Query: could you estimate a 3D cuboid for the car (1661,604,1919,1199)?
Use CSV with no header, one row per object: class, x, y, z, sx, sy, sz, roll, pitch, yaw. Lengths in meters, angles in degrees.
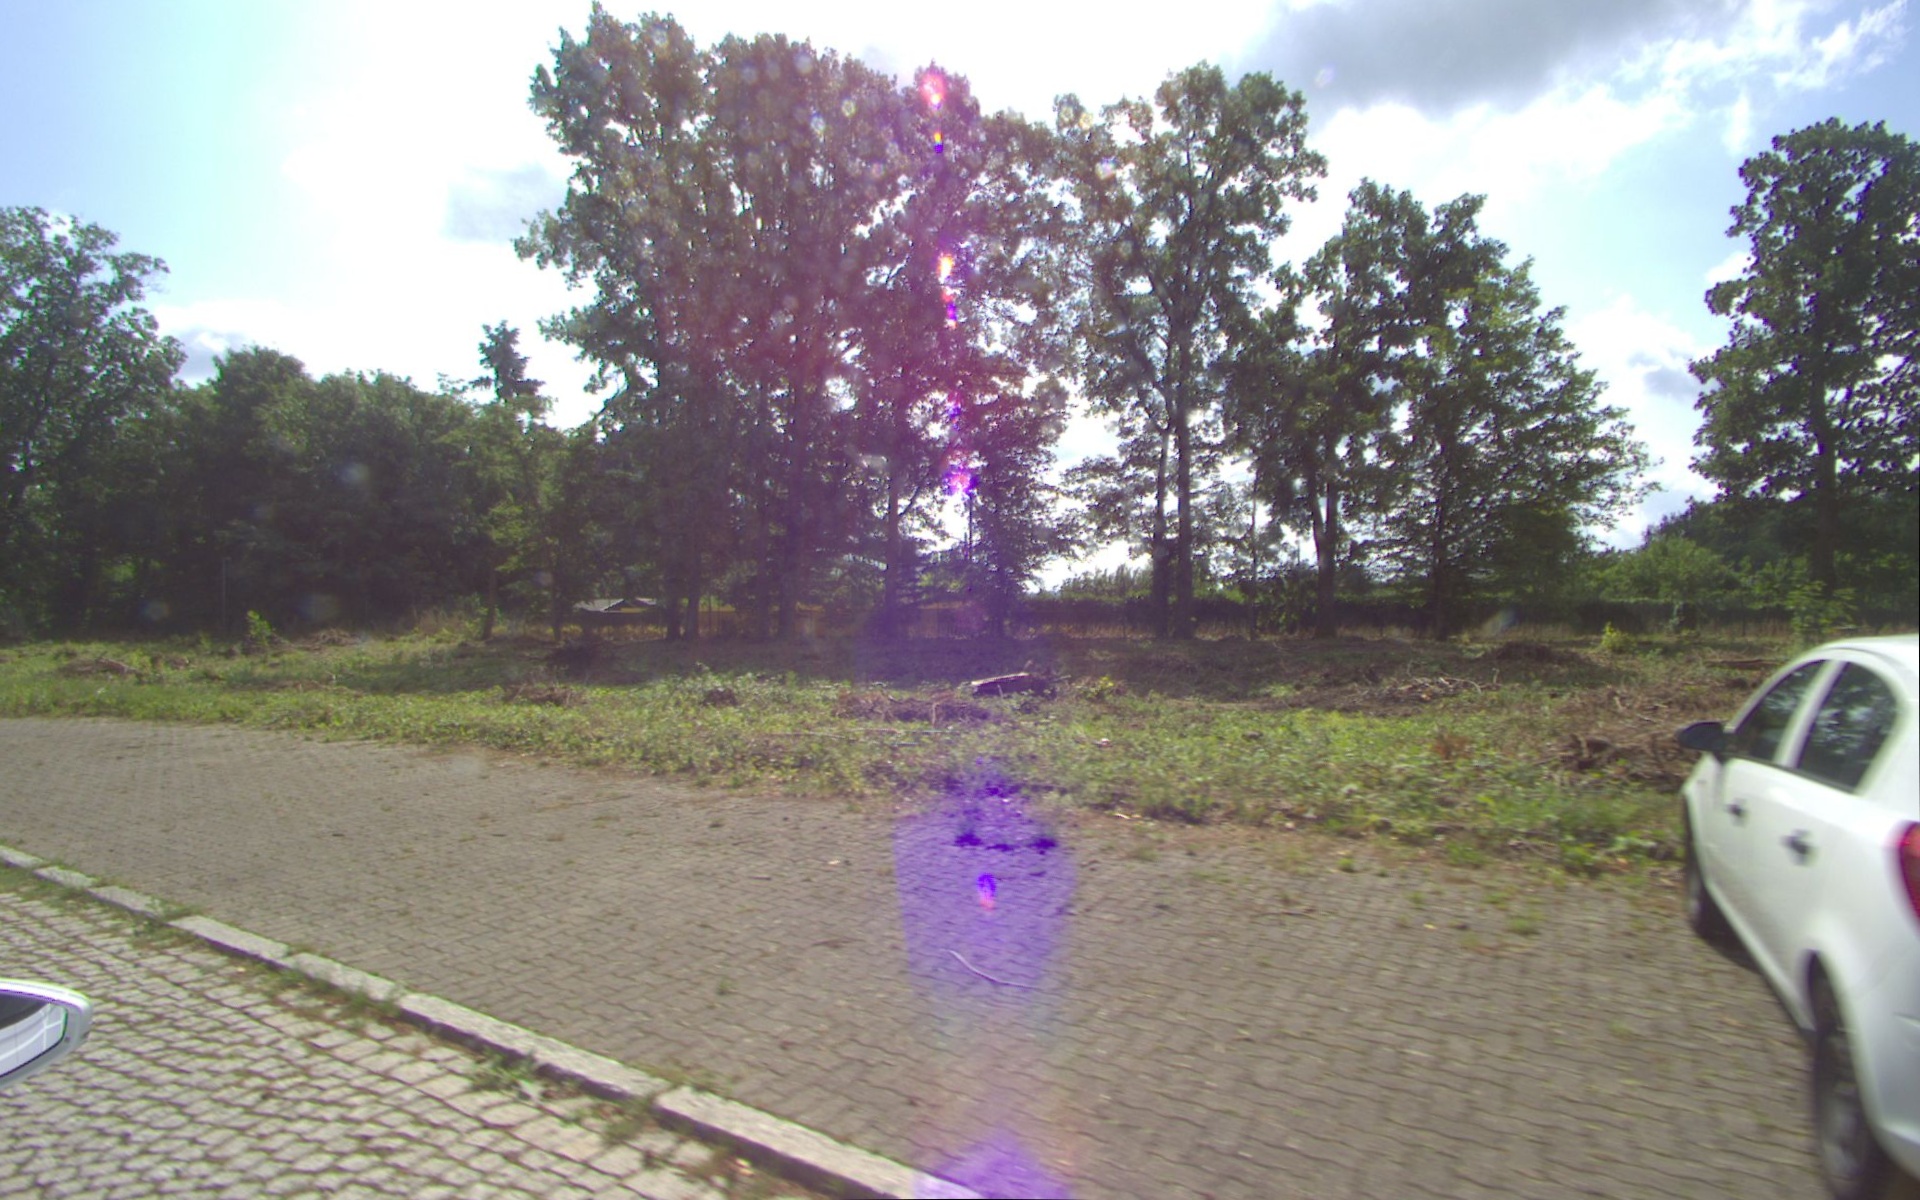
car,3.628,0.784,3.397,1.679,1.483,4.036,-1,0,30
